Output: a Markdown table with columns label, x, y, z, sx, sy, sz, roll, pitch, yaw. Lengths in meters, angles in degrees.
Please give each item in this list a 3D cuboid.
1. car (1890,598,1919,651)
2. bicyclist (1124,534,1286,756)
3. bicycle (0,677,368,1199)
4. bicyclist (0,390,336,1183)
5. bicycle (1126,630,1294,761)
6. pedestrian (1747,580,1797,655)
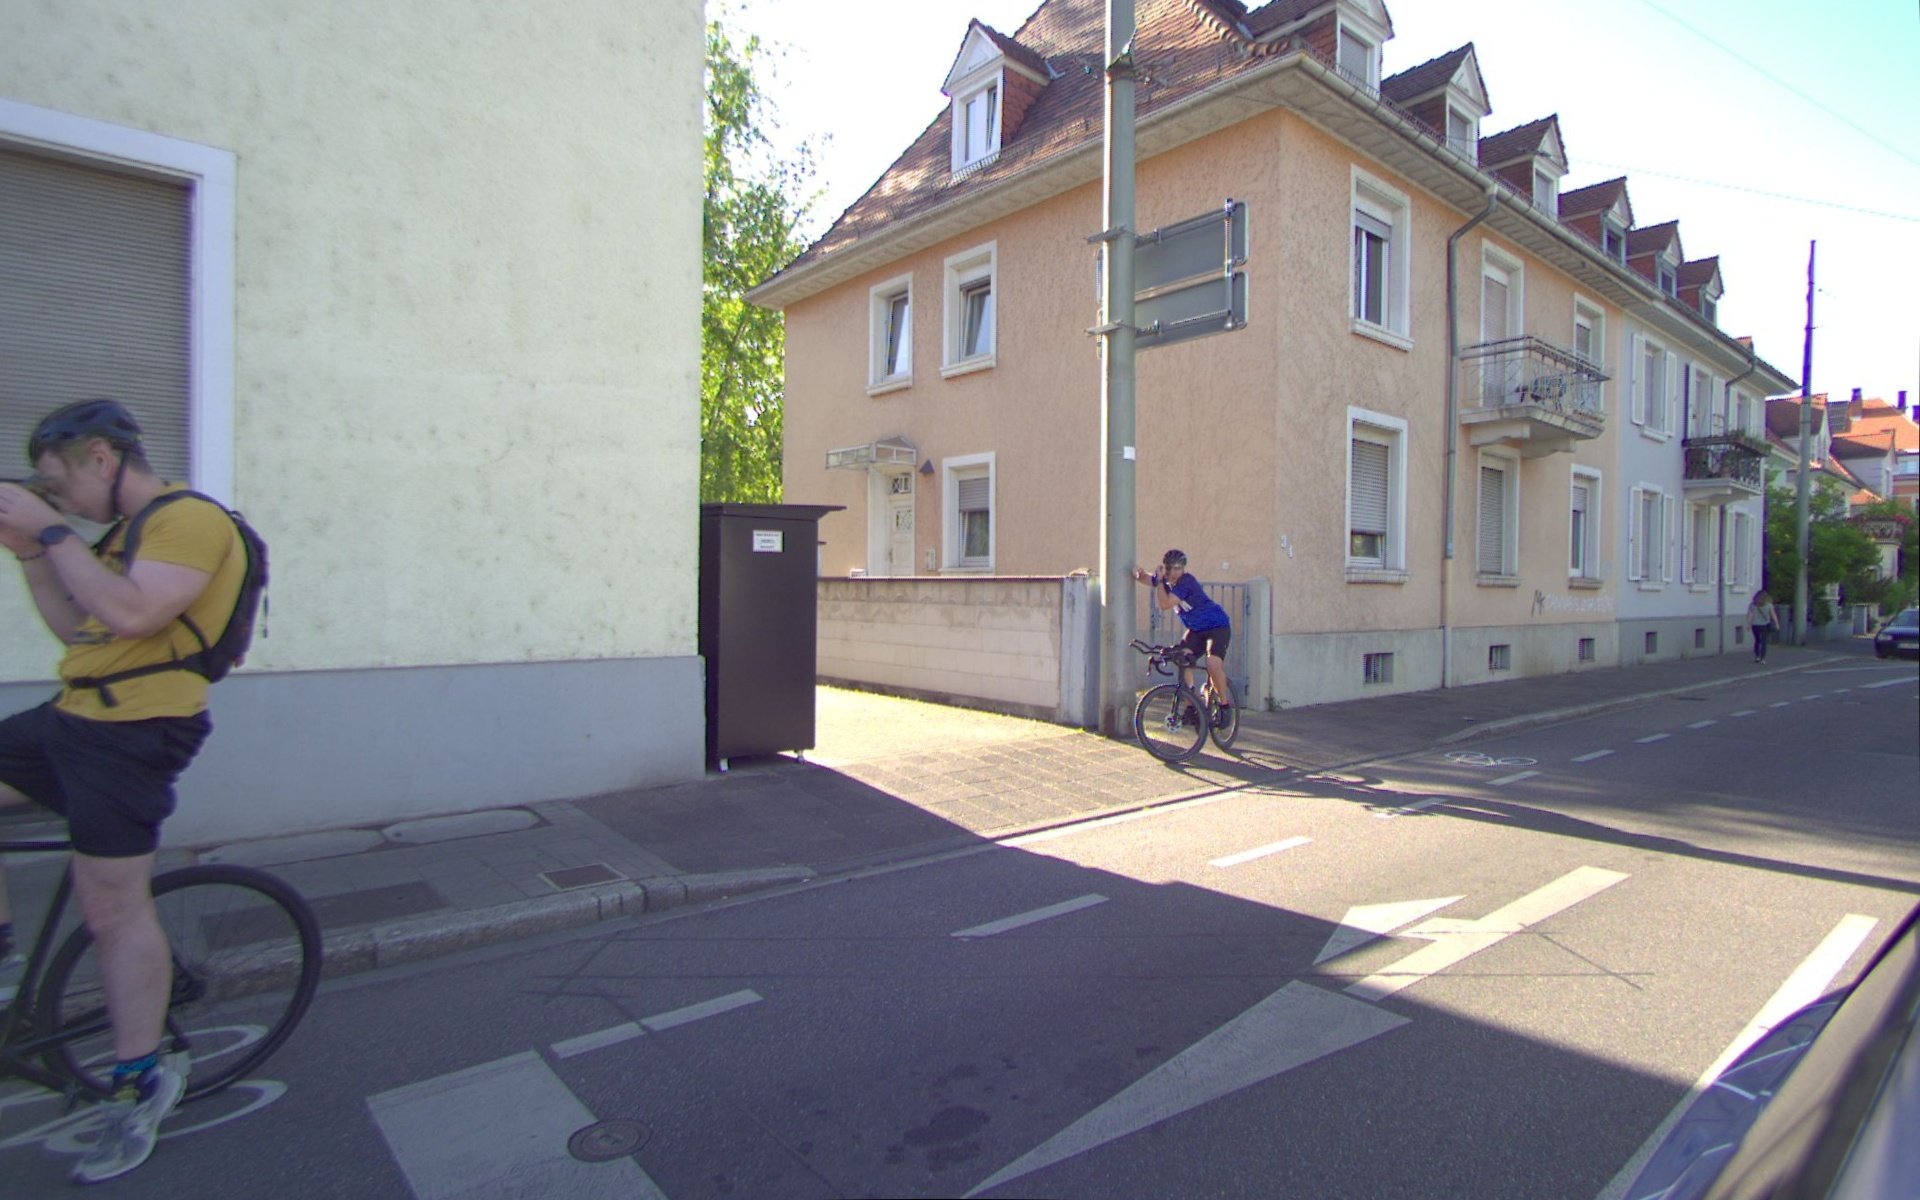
| label | x | y | z | sx | sy | sz | roll | pitch | yaw |
| --- | --- | --- | --- | --- | --- | --- | --- | --- | --- |
| car | 26.682 | 0.640 | 27.343 | 3.796 | 1.382 | 1.648 | 0 | 1 | -38 |
| bicyclist | 2.269 | 0.368 | 9.431 | 0.831 | 1.887 | 1.076 | 0 | 4 | -40 |
| bicycle | -2.491 | 0.850 | 2.531 | 1.669 | 1.180 | 0.572 | 0 | 1 | -41 |
| bicyclist | -2.315 | 0.428 | 2.696 | 1.018 | 1.840 | 0.653 | 0 | 1 | -41 |
| bicycle | 2.302 | 0.825 | 9.206 | 1.669 | 1.003 | 0.572 | 0 | 4 | -41 |
| pedestrian | 18.541 | 0.383 | 23.105 | 1.079 | 1.682 | 0.694 | 0 | 0 | -41 |
